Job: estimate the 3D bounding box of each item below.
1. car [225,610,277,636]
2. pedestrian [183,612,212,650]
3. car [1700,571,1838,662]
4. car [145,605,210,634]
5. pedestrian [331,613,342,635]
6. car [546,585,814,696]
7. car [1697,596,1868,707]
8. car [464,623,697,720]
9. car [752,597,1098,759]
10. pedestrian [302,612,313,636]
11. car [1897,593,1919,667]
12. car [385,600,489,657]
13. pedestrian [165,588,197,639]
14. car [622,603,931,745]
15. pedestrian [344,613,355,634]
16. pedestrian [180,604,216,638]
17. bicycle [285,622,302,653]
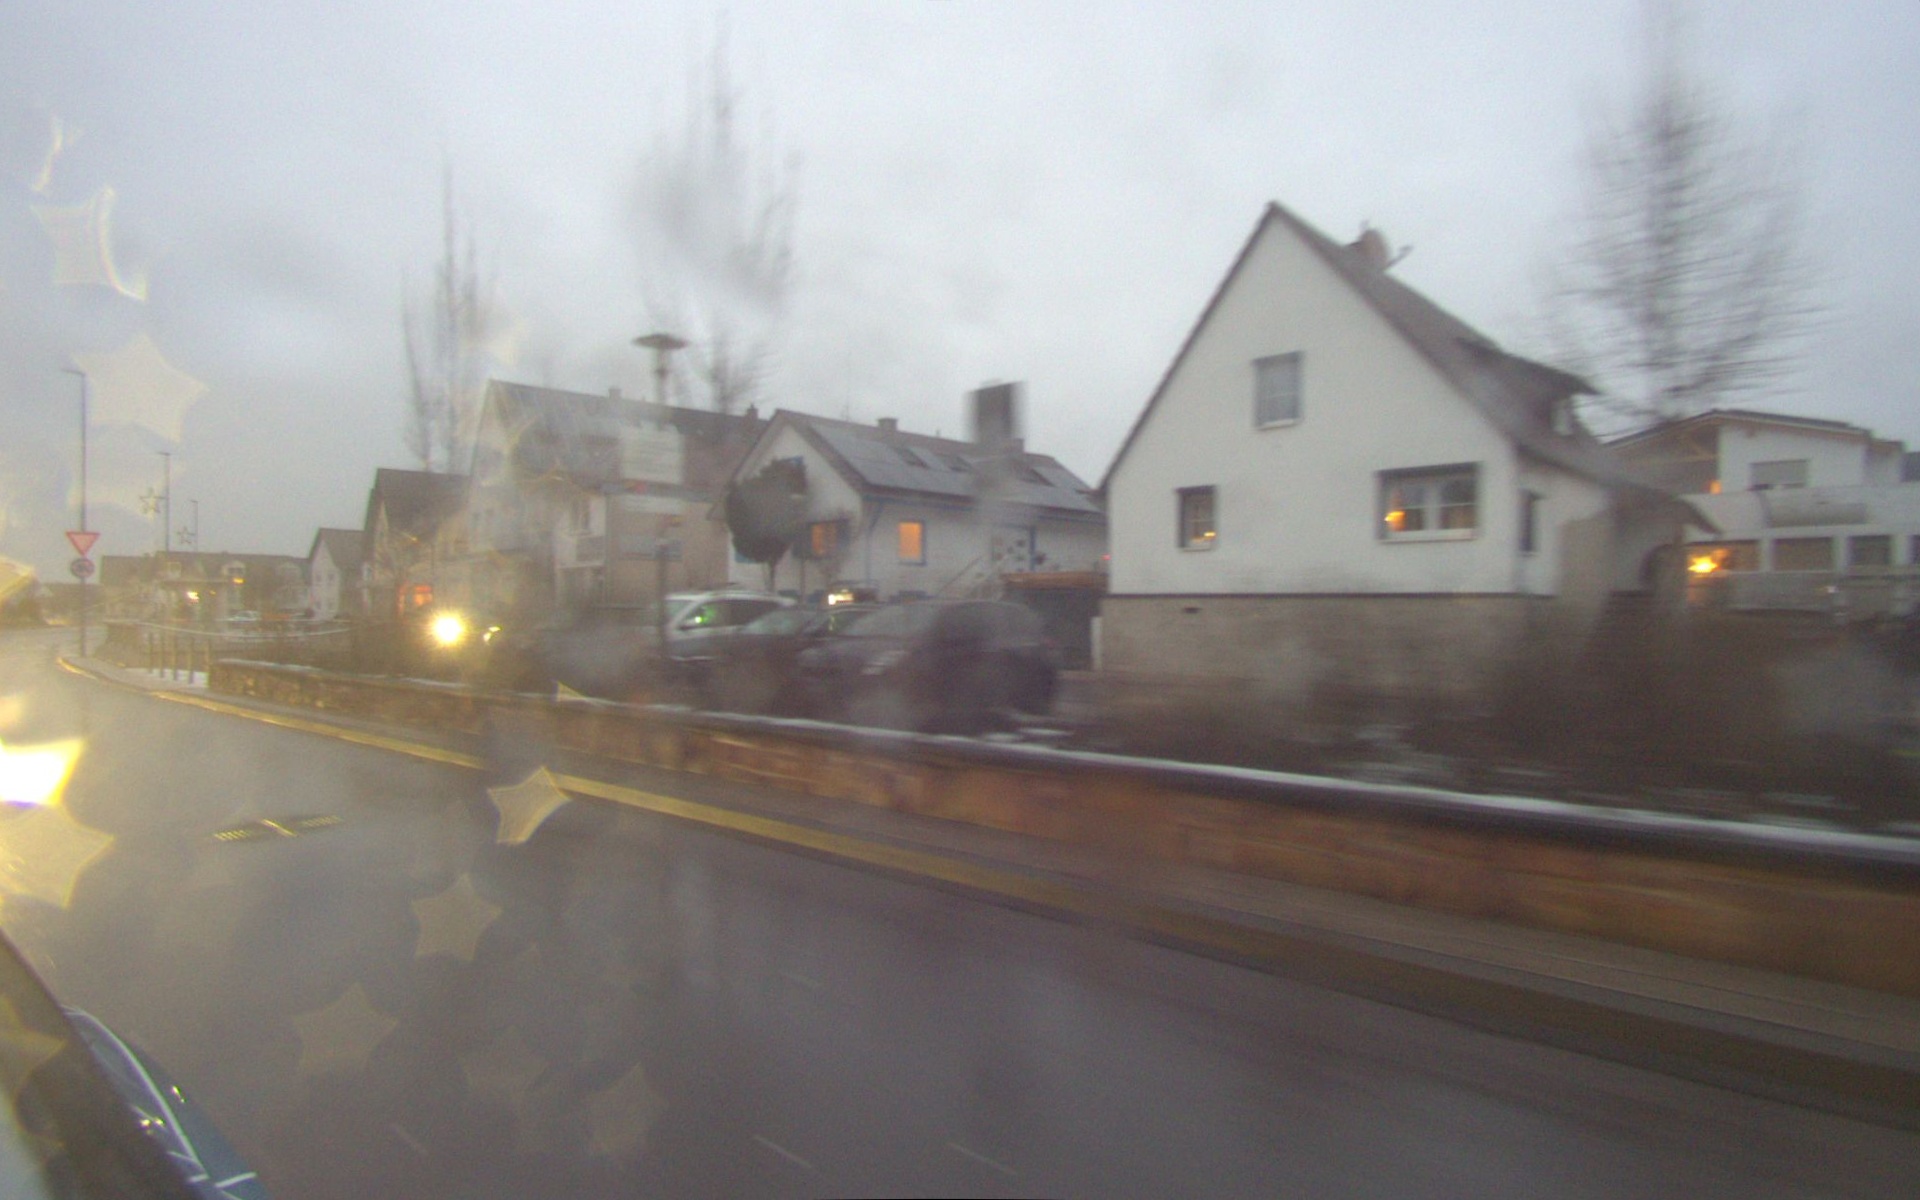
[{"bbox_3d":[-57.978,1.840,82.735,3.852,1.895,1.918,2,2,27],"label":"car"},{"bbox_3d":[-26.527,1.081,35.217,0.750,1.281,0.677,-1,0,45],"label":"pedestrian"},{"bbox_3d":[16.306,0.257,20.555,1.591,1.670,3.070,2,2,28],"label":"car"},{"bbox_3d":[-60.232,1.482,77.936,3.961,2.009,1.963,1,2,14],"label":"car"},{"bbox_3d":[-47.288,1.831,76.761,0.500,1.623,0.574,2,2,45],"label":"pedestrian"},{"bbox_3d":[-4.288,0.545,15.905,1.714,1.534,3.753,0,0,42],"label":"car"},{"bbox_3d":[13.765,0.753,17.107,1.997,1.509,4.046,2,2,38],"label":"car"},{"bbox_3d":[-6.432,1.150,17.408,1.599,1.383,3.410,-2,0,39],"label":"car"},{"bbox_3d":[-0.280,0.776,12.270,1.879,1.509,4.083,2,3,42],"label":"car"},{"bbox_3d":[-45.427,1.659,70.437,0.500,1.623,0.574,2,2,45],"label":"pedestrian"},{"bbox_3d":[21.979,0.644,22.205,2.001,1.509,4.039,2,3,43],"label":"car"},{"bbox_3d":[-16.947,0.925,32.693,1.734,1.714,4.568,3,-3,-44],"label":"car"},{"bbox_3d":[-27.334,0.453,35.501,0.687,1.755,0.740,-1,0,40],"label":"pedestrian"},{"bbox_3d":[-2.384,0.880,13.909,1.587,1.620,4.048,0,0,43],"label":"car"},{"bbox_3d":[-46.750,1.797,77.484,0.500,1.623,0.574,2,2,45],"label":"pedestrian"},{"bbox_3d":[-27.642,0.766,36.723,0.976,1.167,0.903,-1,-2,-40],"label":"pedestrian"},{"bbox_3d":[-22.950,1.286,34.871,0.463,1.017,1.744,1,-1,-33],"label":"bicycle"}]
